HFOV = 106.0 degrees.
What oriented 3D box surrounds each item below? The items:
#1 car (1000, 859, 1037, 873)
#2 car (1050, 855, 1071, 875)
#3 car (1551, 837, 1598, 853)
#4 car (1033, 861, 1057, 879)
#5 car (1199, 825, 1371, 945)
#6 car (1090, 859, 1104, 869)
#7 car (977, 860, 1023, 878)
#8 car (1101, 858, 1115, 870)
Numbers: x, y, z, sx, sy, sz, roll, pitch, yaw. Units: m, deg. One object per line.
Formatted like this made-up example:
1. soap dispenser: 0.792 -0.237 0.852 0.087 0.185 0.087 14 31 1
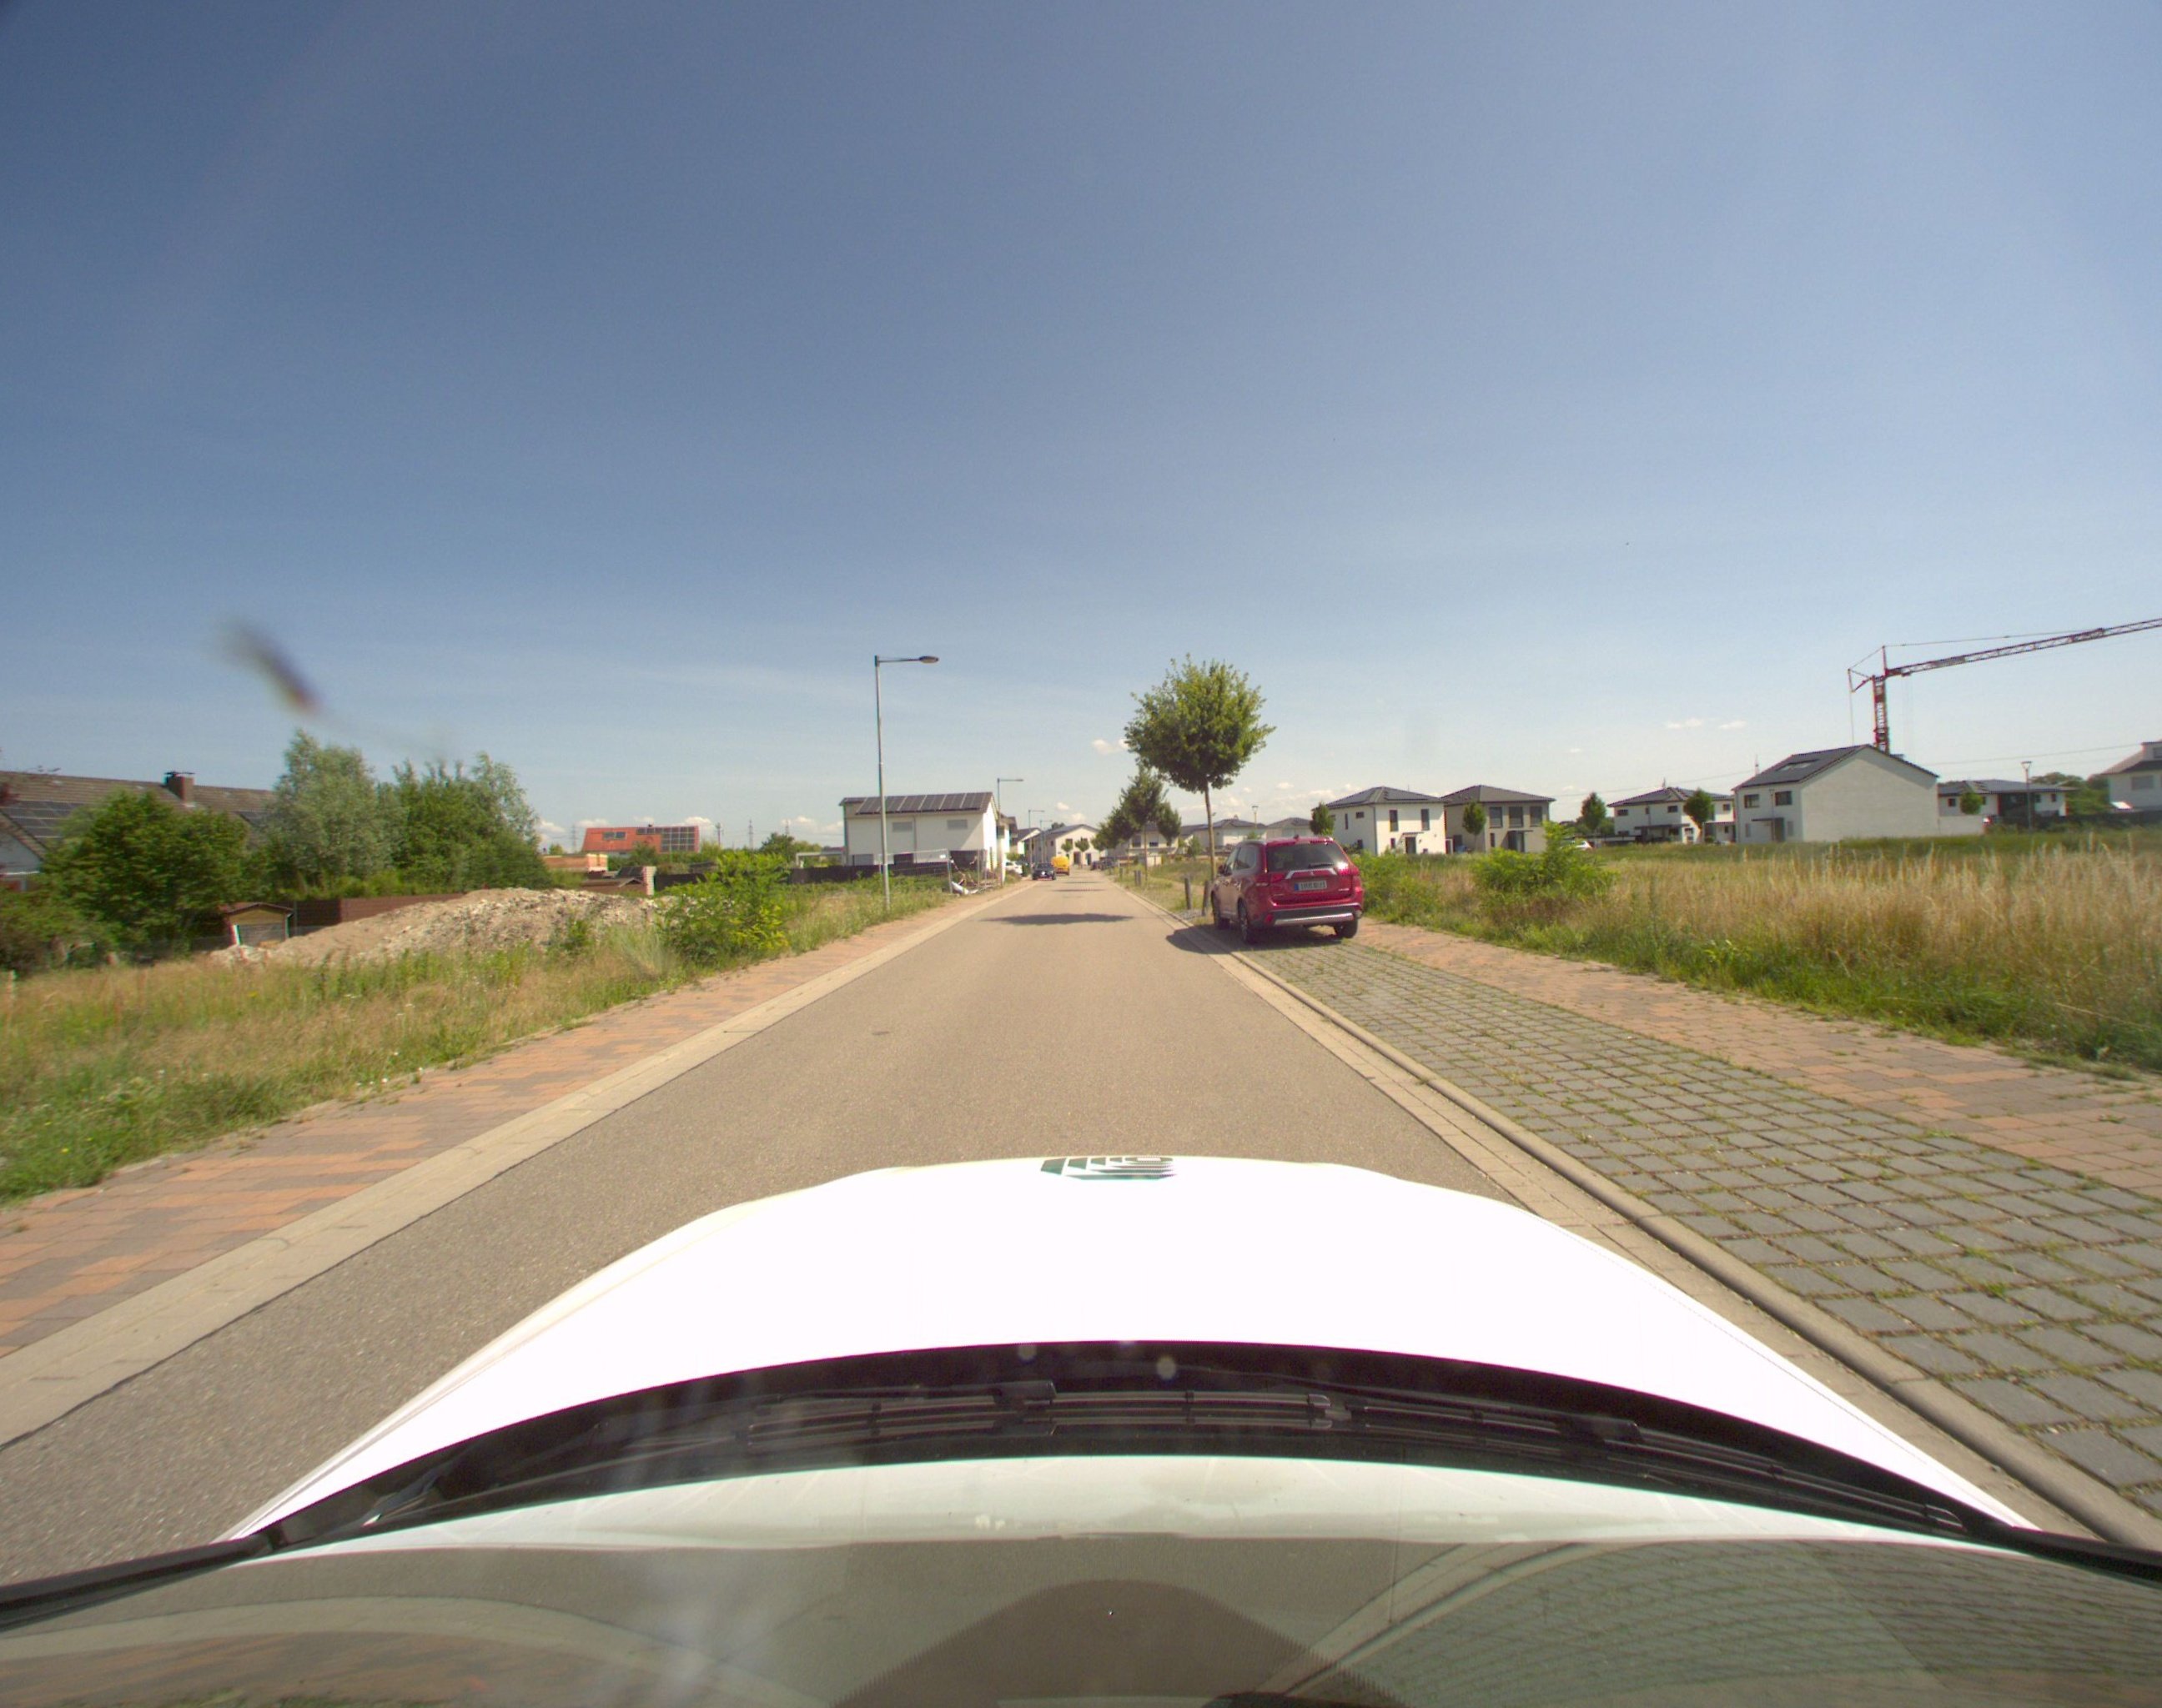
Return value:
1. car: -7.460 1.392 96.969 4.169 1.505 1.805 2 -2 -16
2. car: -2.188 1.156 86.286 1.937 1.981 4.211 -2 -1 -4
3. car: 50.026 -0.895 82.509 3.993 1.398 1.742 -2 -1 -14
4. car: -2.892 1.270 66.156 1.740 1.405 4.158 0 0 0
5. car: 3.342 0.449 14.263 1.771 1.663 4.432 -4 0 -1
6. car: 2.388 1.602 125.002 1.626 1.322 3.824 -2 -3 -7
7. car: -7.605 1.371 76.594 4.049 1.581 1.787 -1 0 5
8. car: 3.522 1.279 106.404 1.634 1.403 3.808 -2 -2 -1
